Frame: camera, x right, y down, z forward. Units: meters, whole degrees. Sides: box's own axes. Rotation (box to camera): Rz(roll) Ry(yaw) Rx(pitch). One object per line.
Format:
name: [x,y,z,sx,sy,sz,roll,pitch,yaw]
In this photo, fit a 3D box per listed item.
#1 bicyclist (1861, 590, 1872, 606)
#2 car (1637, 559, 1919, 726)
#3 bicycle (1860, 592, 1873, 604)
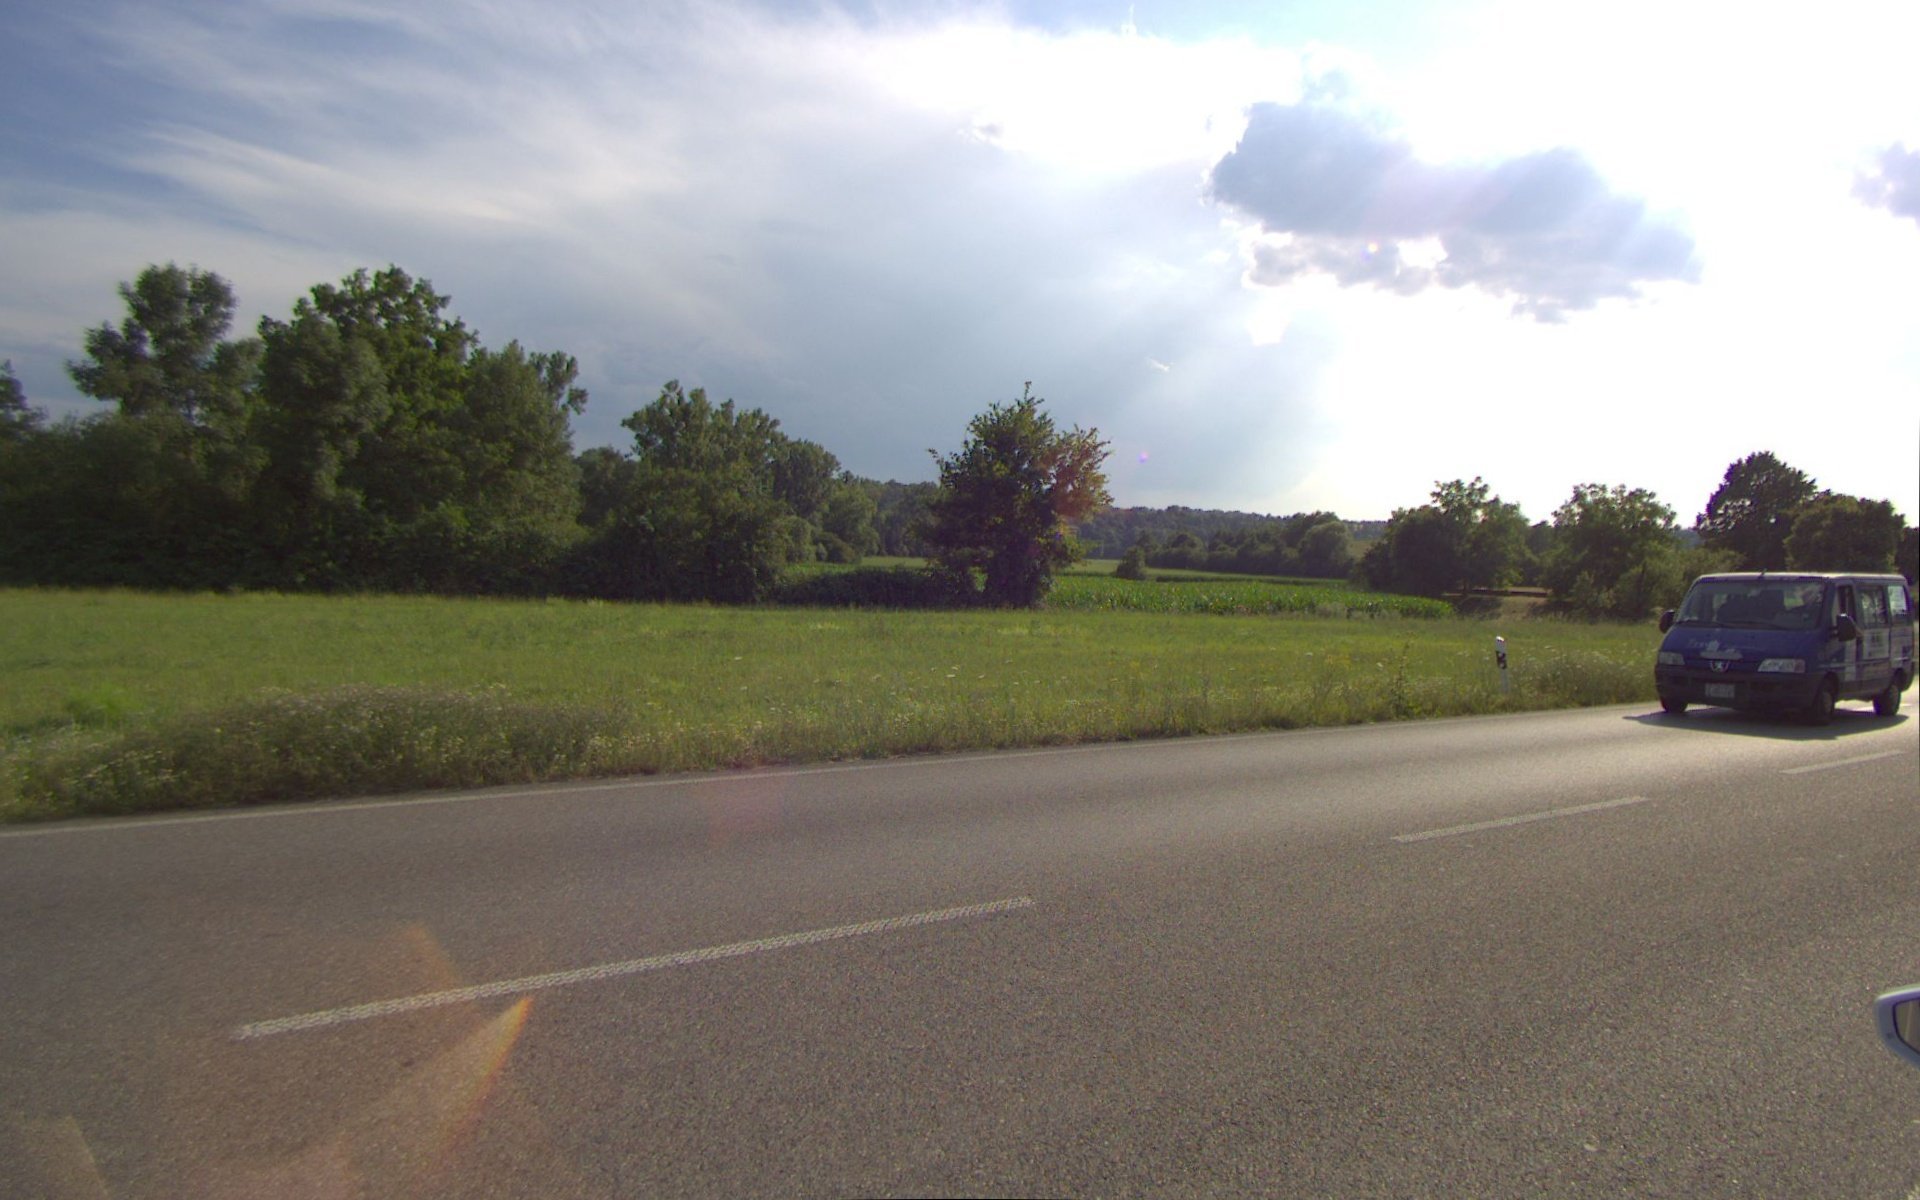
bicyclist: [86.596,-0.190,95.918,0.685,1.439,0.630,1,2,-38]
car: [12.433,0.570,15.174,4.729,2.165,1.986,1,1,-34]
bicycle: [86.589,-0.192,95.915,1.656,1.089,0.630,1,2,-39]
